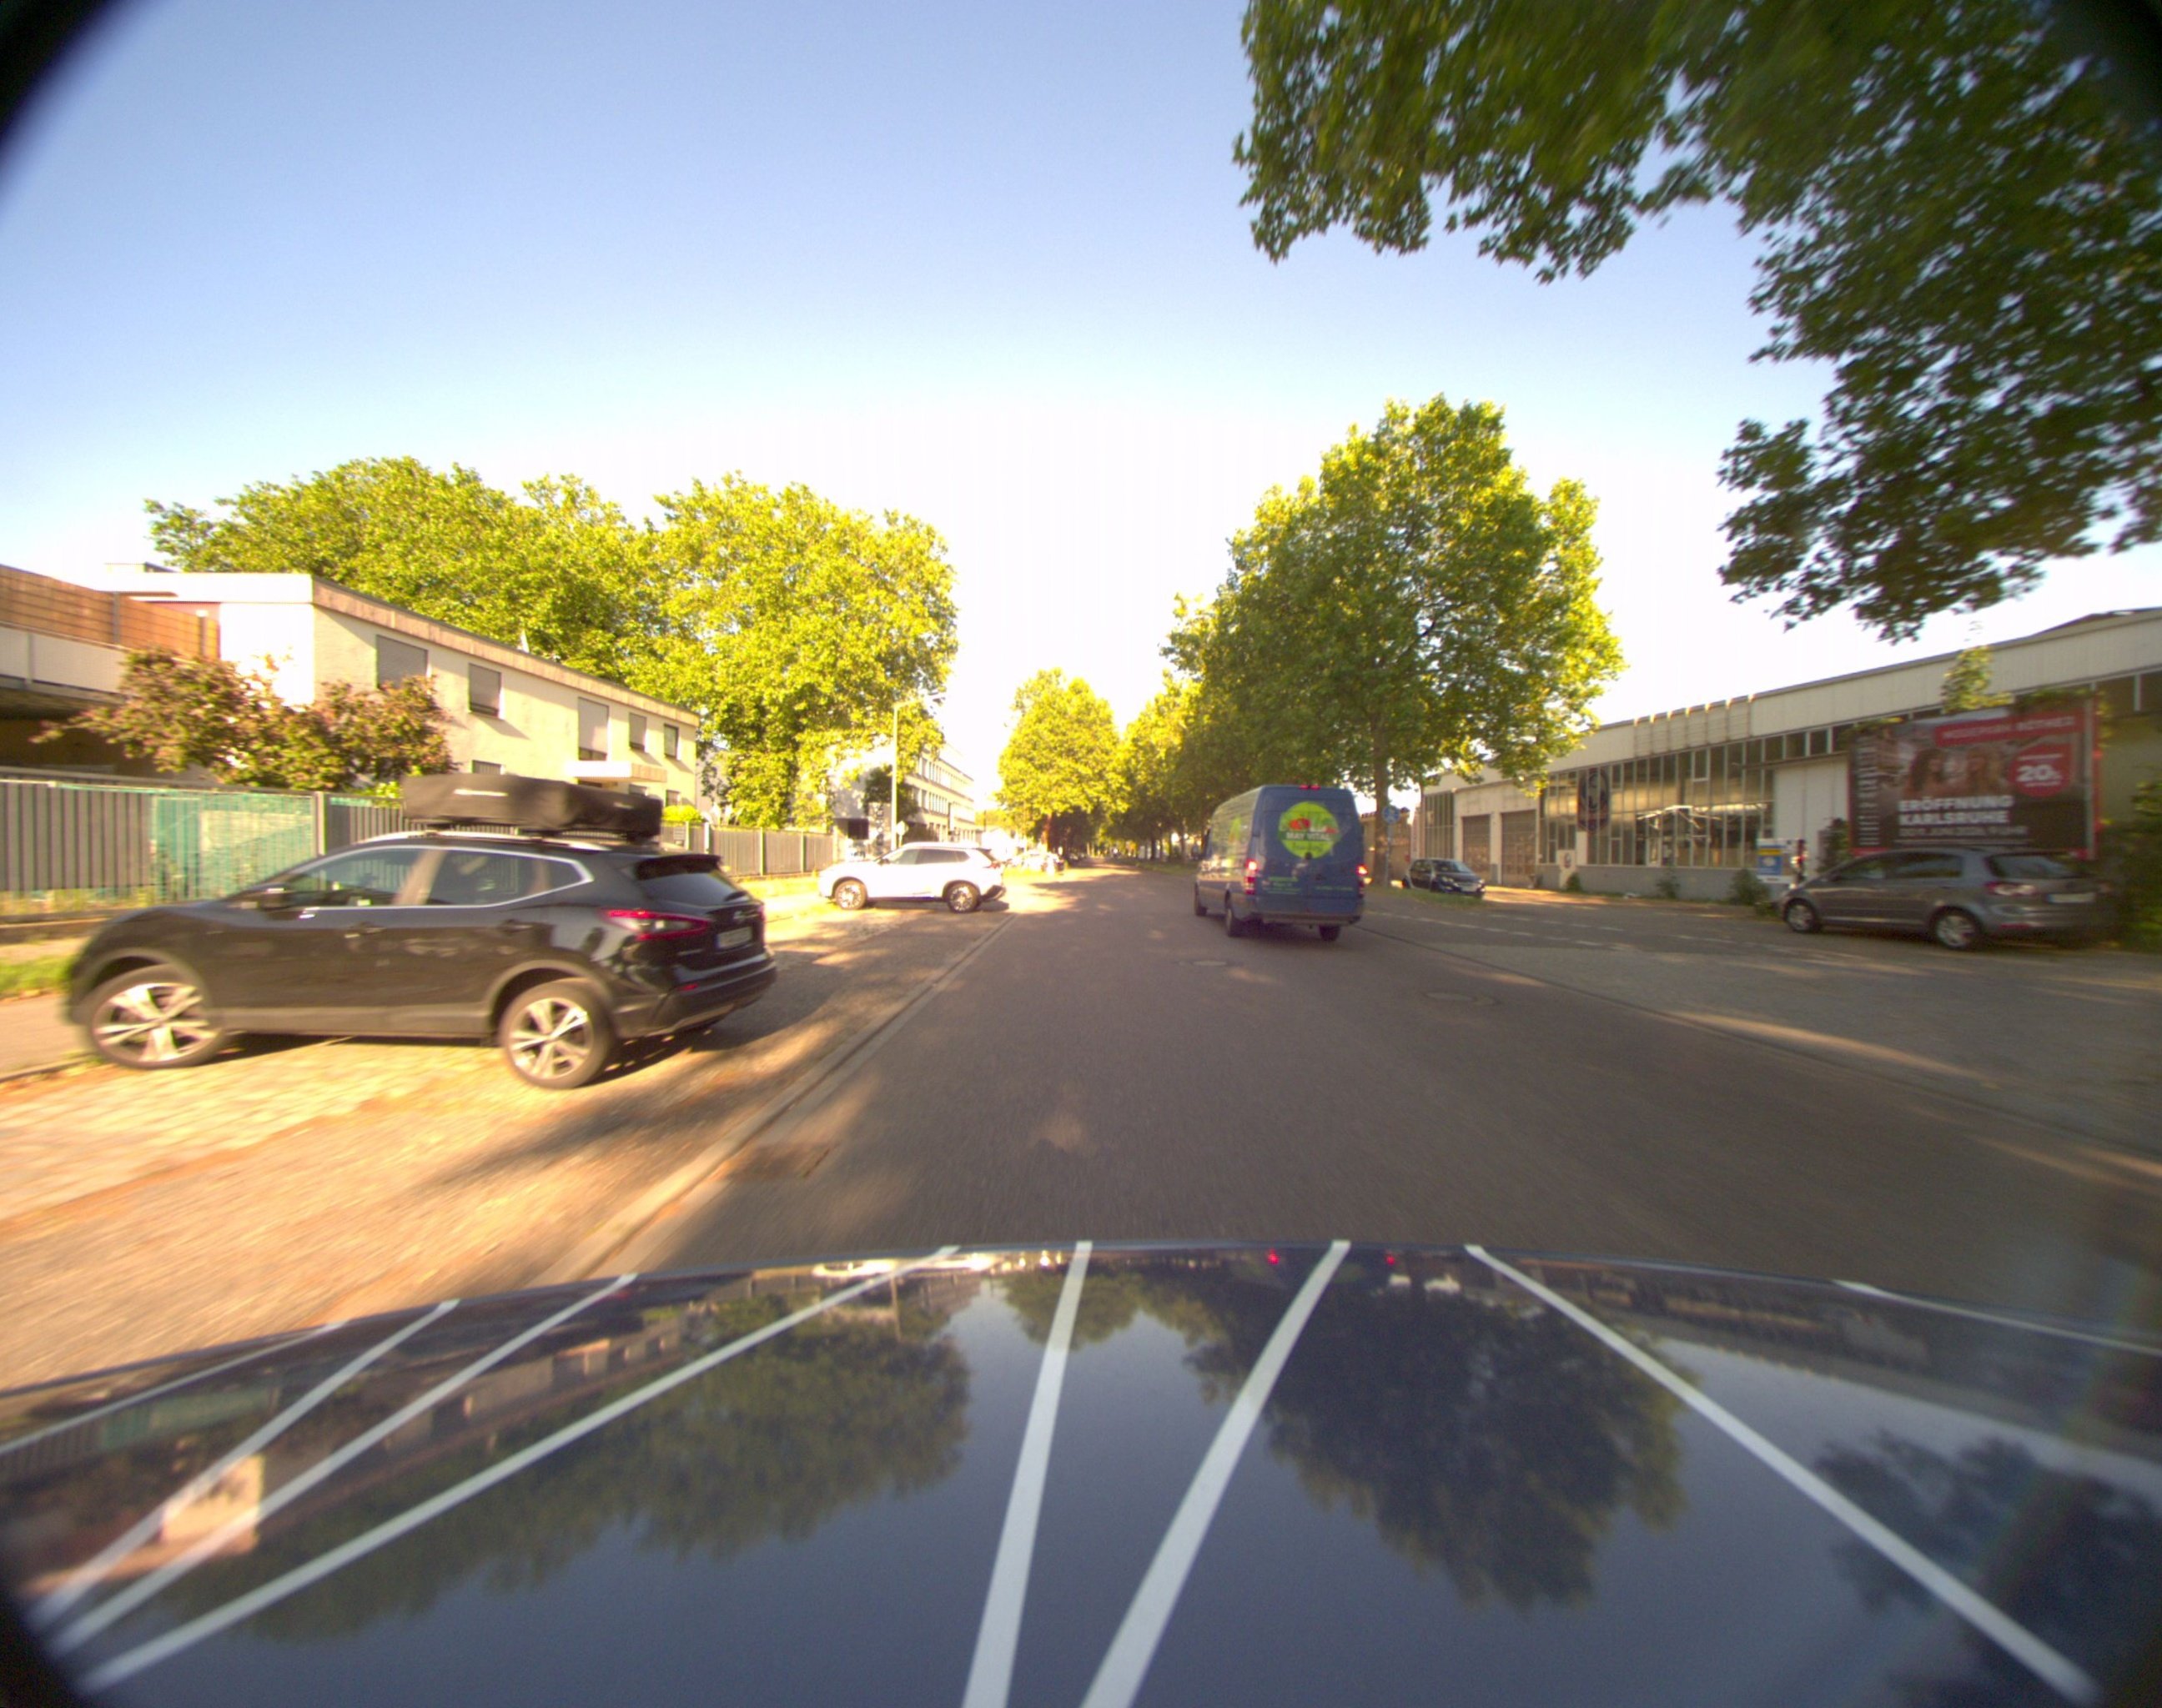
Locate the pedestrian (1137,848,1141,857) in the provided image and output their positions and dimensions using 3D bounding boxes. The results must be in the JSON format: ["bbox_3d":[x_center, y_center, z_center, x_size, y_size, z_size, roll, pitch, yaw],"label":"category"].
[{"bbox_3d":[11.779,-0.238,153.500,0.805,1.763,0.940,-1,1,3],"label":"pedestrian"}]

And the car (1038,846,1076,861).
[{"bbox_3d":[-2.848,-0.009,90.659,4.295,1.477,1.860,4,1,-1],"label":"car"}]

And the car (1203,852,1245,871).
[{"bbox_3d":[14.049,0.720,74.351,1.994,1.620,4.271,0,2,44],"label":"car"}]

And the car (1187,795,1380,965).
[{"bbox_3d":[3.659,0.408,15.418,2.133,2.644,7.001,0,0,1],"label":"car"}]

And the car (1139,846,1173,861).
[{"bbox_3d":[16.468,-0.130,166.180,6.972,2.835,2.595,4,-1,-27],"label":"car"}]

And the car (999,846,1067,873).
[{"bbox_3d":[-3.371,0.371,53.649,4.582,1.706,1.942,3,1,-3],"label":"car"}]

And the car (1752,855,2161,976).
[{"bbox_3d":[14.041,0.864,12.698,1.998,1.567,4.273,-1,1,2],"label":"car"}]

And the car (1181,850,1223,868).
[{"bbox_3d":[12.803,0.533,80.434,4.006,1.740,1.995,-2,1,-31],"label":"car"}]

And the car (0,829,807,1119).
[{"bbox_3d":[-4.712,0.710,5.544,4.636,1.518,1.999,3,1,-1],"label":"car"}]

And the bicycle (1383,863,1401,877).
[{"bbox_3d":[25.675,1.294,62.730,0.537,1.052,2.159,-6,1,2],"label":"bicycle"}]

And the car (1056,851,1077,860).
[{"bbox_3d":[-2.703,0.358,144.189,3.944,1.505,1.666,2,1,1],"label":"car"}]

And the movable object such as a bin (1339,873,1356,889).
[{"bbox_3d":[25.375,2.592,72.419,1.059,1.423,1.627,-1,1,-1],"label":"movable object such as a bin"}]

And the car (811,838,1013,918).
[{"bbox_3d":[-4.183,0.571,19.385,4.636,1.702,1.999,3,1,-1],"label":"car"}]

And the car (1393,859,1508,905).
[{"bbox_3d":[13.361,0.960,27.769,1.999,1.362,3.918,4,1,-4],"label":"car"}]
